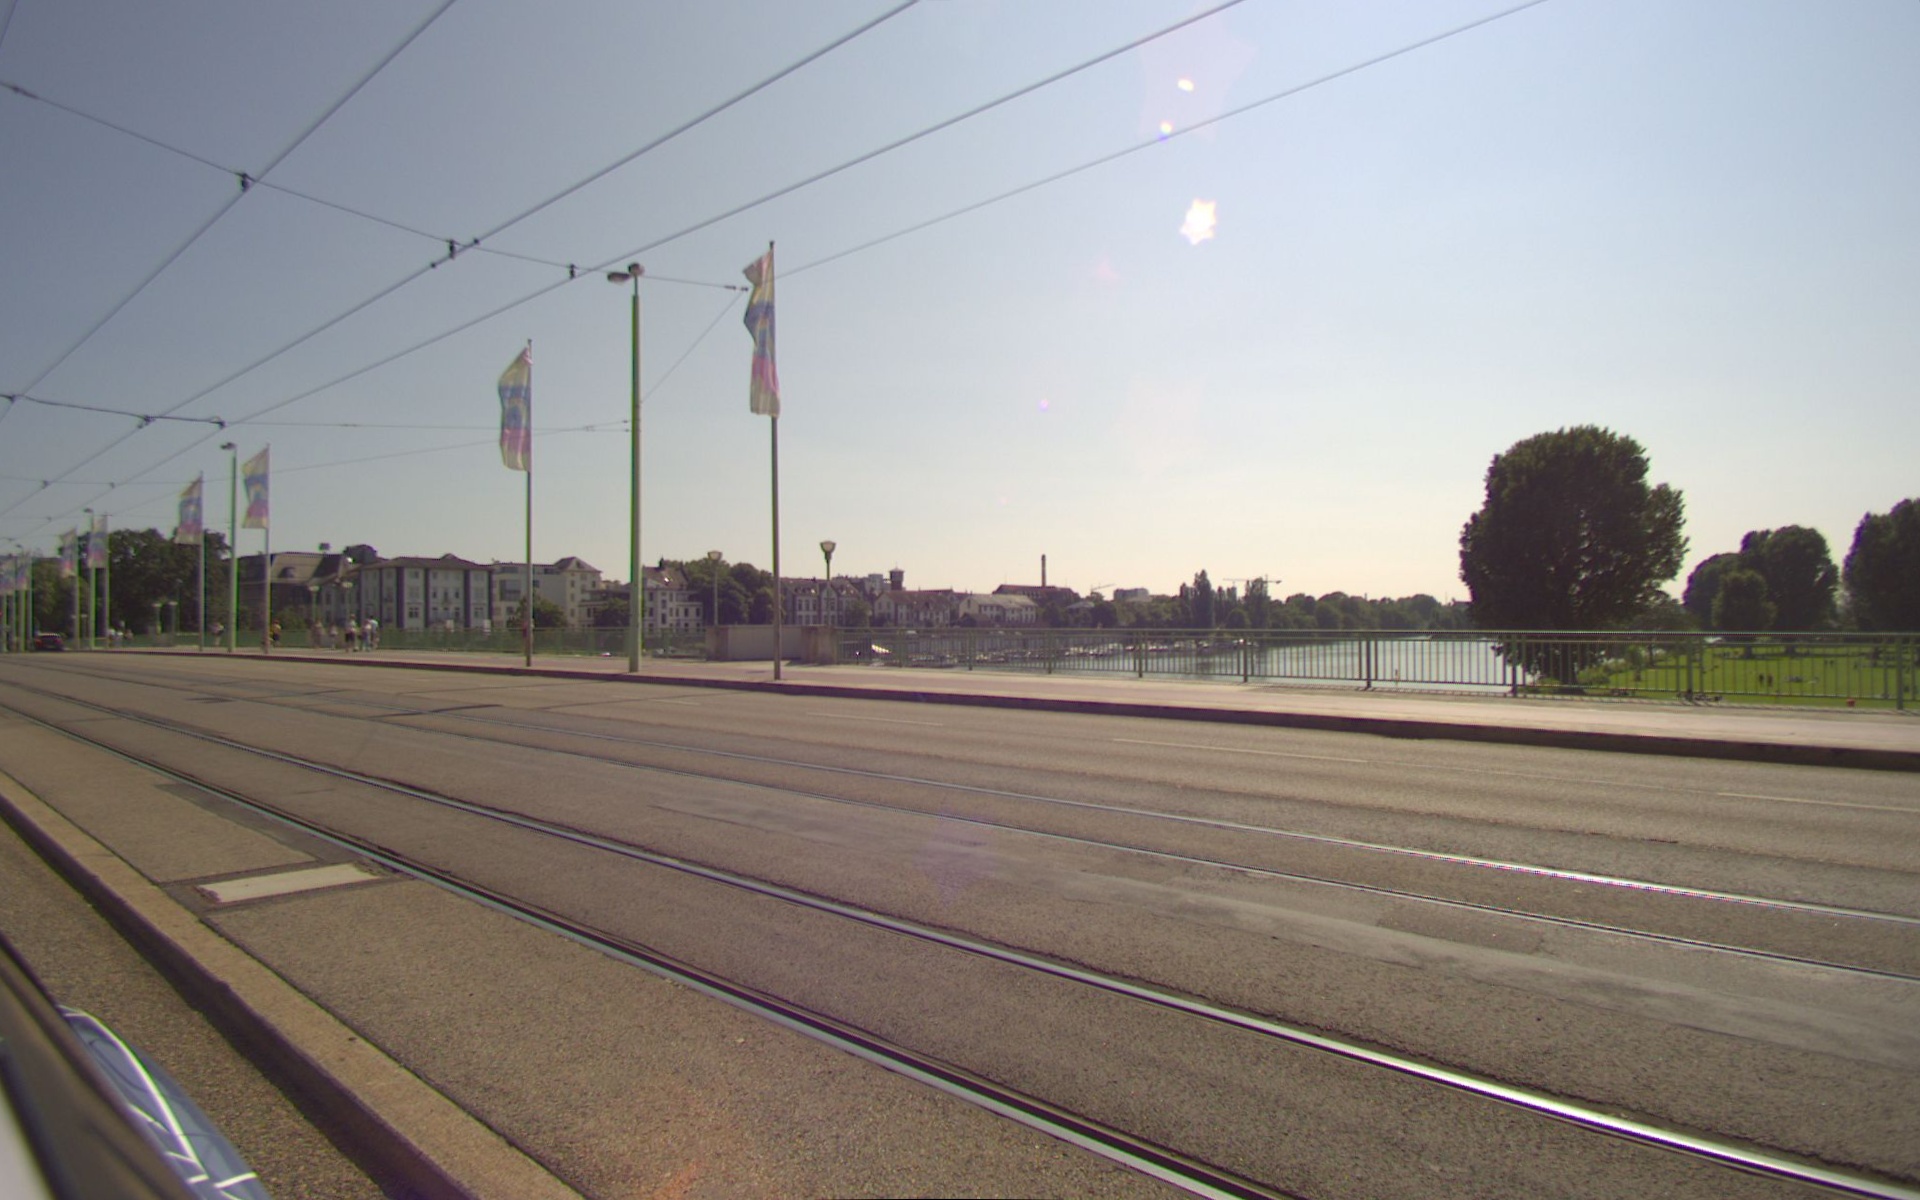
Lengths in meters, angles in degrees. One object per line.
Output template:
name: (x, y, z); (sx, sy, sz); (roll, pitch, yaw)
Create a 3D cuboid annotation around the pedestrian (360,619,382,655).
pedestrian: (-28.550, 1.770, 49.076); (1.022, 1.712, 0.584); (-2, 0, 41)

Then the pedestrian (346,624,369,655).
pedestrian: (-28.484, 1.844, 47.839); (1.022, 1.425, 0.584); (-2, 0, 41)

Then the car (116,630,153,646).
car: (-121.464, 5.606, 148.941); (2.000, 2.028, 3.945); (-1, 3, 42)

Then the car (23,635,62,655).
car: (-69.543, 3.361, 76.718); (3.899, 1.465, 1.698); (-2, -2, 41)

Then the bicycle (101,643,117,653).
bicycle: (-67.283, 3.790, 80.031); (2.171, 0.721, 0.658); (-2, -2, 41)

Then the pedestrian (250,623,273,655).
pedestrian: (-39.205, 2.177, 56.797); (1.022, 1.712, 0.777); (-2, 1, 41)

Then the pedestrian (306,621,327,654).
pedestrian: (-32.800, 1.916, 51.586); (1.022, 1.611, 0.620); (-2, 0, 41)

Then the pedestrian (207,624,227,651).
pedestrian: (-48.735, 2.474, 66.369); (1.022, 1.712, 0.777); (-2, 1, 41)

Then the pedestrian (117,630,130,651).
pedestrian: (-72.678, 3.499, 87.900); (1.022, 1.712, 0.584); (-2, 3, 41)

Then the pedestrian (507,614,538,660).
pedestrian: (-16.809, 1.409, 38.895); (1.022, 1.703, 0.677); (-2, 0, 41)

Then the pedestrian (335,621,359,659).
pedestrian: (-28.826, 1.875, 47.579); (1.022, 1.712, 0.663); (-2, 0, 41)

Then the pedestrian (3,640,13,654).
pedestrian: (-112.867, 5.566, 119.991); (1.022, 1.712, 0.777); (-2, 1, 41)

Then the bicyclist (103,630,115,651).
bicyclist: (-67.294, 3.205, 80.038); (0.621, 1.663, 0.657); (-2, -2, 41)

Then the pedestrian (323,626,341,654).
pedestrian: (-32.366, 2.055, 52.148); (0.788, 1.448, 0.540); (-2, 0, 41)

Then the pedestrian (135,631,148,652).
pedestrian: (-69.505, 3.499, 85.942); (0.904, 1.712, 0.584); (-2, 3, 41)
